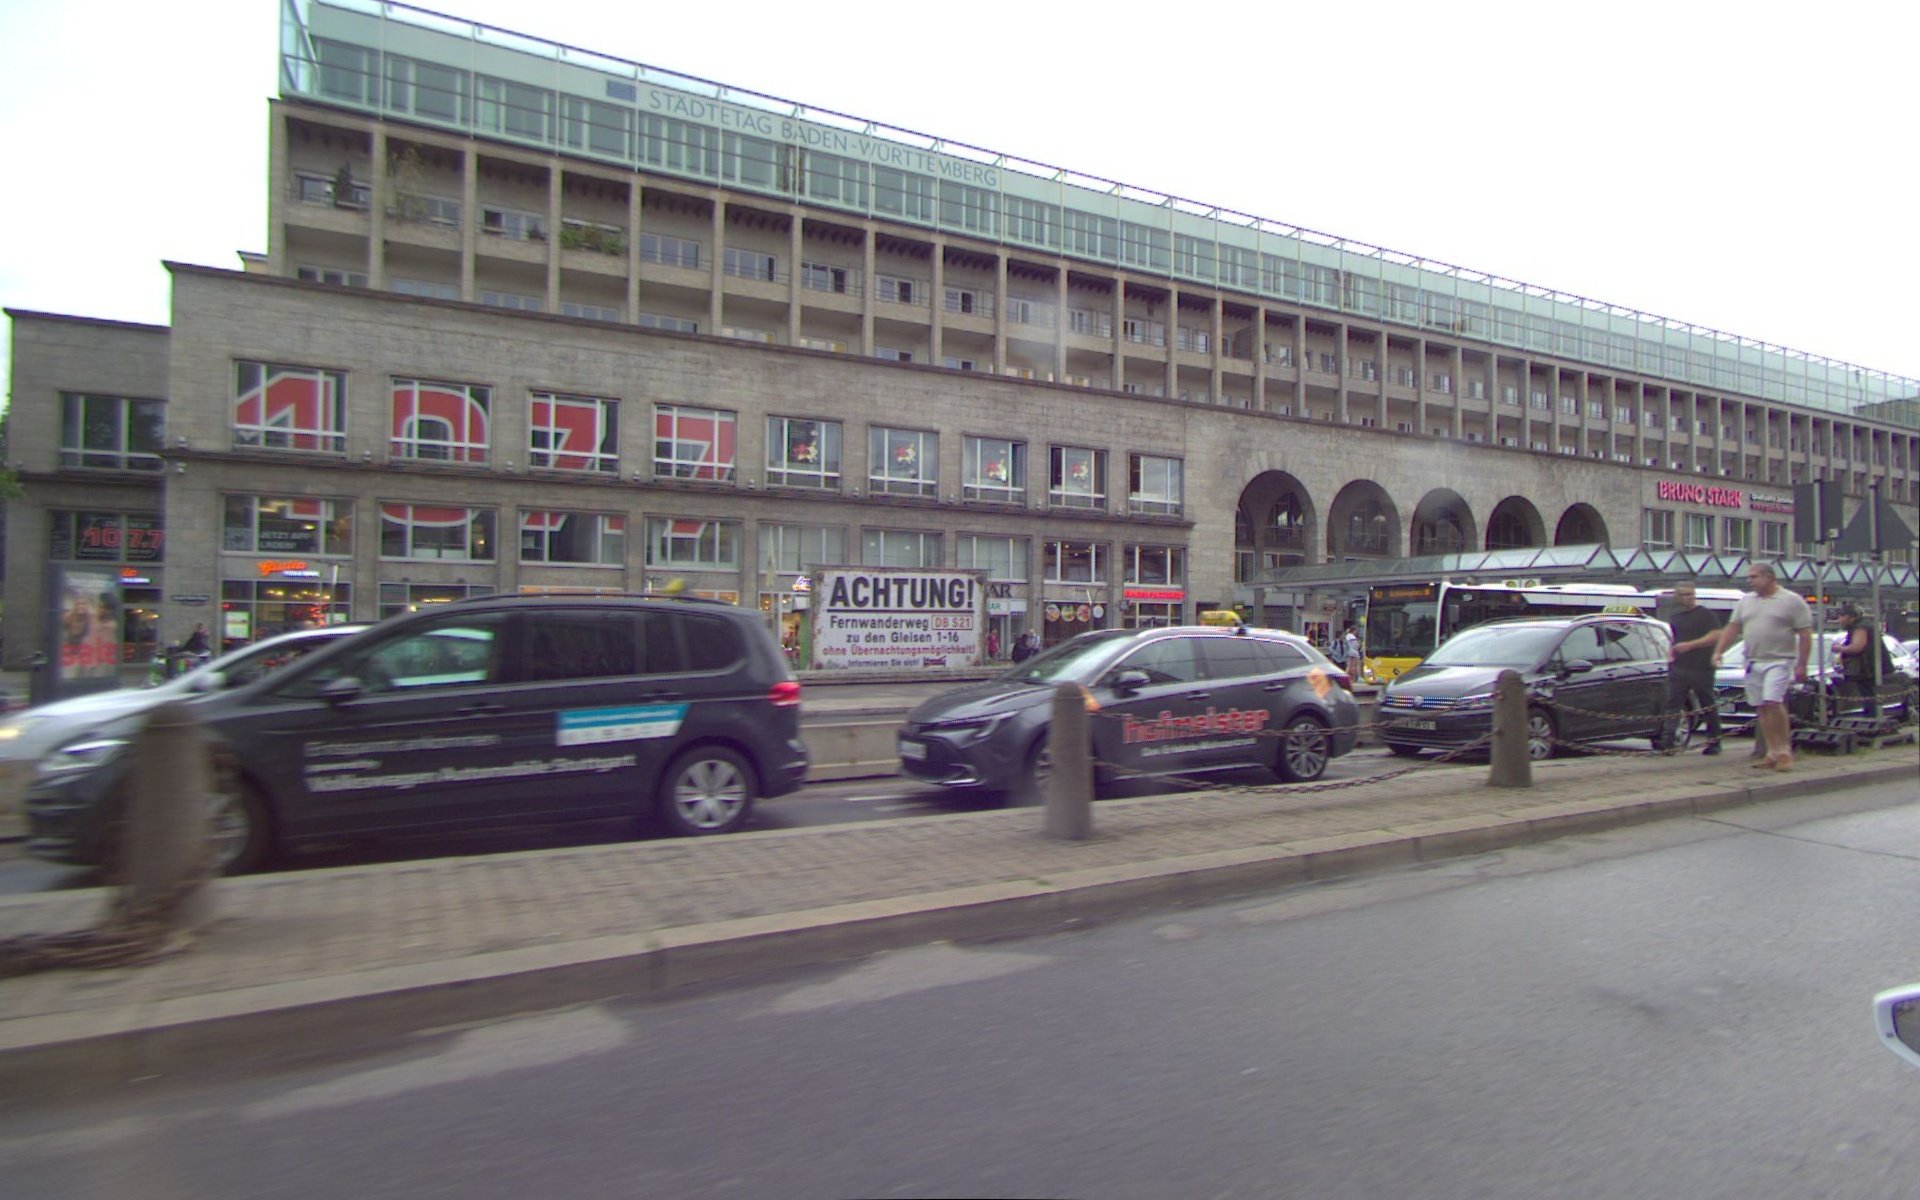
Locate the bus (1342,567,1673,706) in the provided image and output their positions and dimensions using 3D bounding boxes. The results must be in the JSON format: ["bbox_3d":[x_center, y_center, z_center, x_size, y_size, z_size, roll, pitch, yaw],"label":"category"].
[{"bbox_3d":[15.605,1.001,28.308,10.438,3.421,2.867,1,-1,-27],"label":"bus"}]

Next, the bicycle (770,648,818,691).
[{"bbox_3d":[-5.581,2.317,33.718,0.673,1.343,2.191,1,-1,-36],"label":"bicycle"}]

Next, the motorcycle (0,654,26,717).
[{"bbox_3d":[-19.279,1.665,19.483,1.600,1.188,0.580,0,0,-22],"label":"motorcycle"}]

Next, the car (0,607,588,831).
[{"bbox_3d":[-6.084,1.000,9.478,4.624,1.712,1.922,1,-3,-28],"label":"car"}]

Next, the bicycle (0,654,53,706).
[{"bbox_3d":[-22.817,1.936,24.557,0.673,1.145,1.476,0,0,-32],"label":"bicycle"}]

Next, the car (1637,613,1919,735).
[{"bbox_3d":[12.816,1.082,15.315,5.195,1.597,1.922,1,-3,-28],"label":"car"}]

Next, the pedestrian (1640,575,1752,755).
[{"bbox_3d":[7.611,0.656,10.400,0.702,1.778,0.696,1,-1,-27],"label":"pedestrian"}]

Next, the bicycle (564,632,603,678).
[{"bbox_3d":[-11.529,1.652,30.724,0.673,1.343,1.717,1,-1,-36],"label":"bicycle"}]

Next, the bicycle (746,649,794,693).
[{"bbox_3d":[-6.275,2.310,33.104,0.673,1.343,2.191,1,-1,-36],"label":"bicycle"}]

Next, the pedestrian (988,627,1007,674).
[{"bbox_3d":[1.386,1.873,37.430,0.548,1.739,0.489,1,-1,-25],"label":"pedestrian"}]

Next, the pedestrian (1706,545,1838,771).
[{"bbox_3d":[7.707,0.529,9.548,0.762,2.034,0.720,1,0,-27],"label":"pedestrian"}]

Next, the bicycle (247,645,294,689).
[{"bbox_3d":[-18.632,1.801,27.163,0.417,1.071,1.616,0,0,-11],"label":"bicycle"}]

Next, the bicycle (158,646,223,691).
[{"bbox_3d":[-20.240,1.785,26.458,0.693,1.071,1.616,0,0,-11],"label":"bicycle"}]

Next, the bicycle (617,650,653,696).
[{"bbox_3d":[-10.208,2.263,31.478,0.575,1.343,1.694,1,-1,-36],"label":"bicycle"}]

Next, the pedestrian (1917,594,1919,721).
[{"bbox_3d":[14.045,0.812,13.872,0.609,1.792,1.046,1,-1,-27],"label":"pedestrian"}]

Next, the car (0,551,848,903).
[{"bbox_3d":[-3.256,0.711,6.752,4.624,1.712,1.922,1,-3,-28],"label":"car"}]

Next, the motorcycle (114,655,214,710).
[{"bbox_3d":[-16.705,1.715,21.088,1.778,1.072,0.603,1,0,10],"label":"motorcycle"}]

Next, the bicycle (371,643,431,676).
[{"bbox_3d":[-15.732,1.654,28.276,1.370,0.862,0.673,0,0,-39],"label":"bicycle"}]

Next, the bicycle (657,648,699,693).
[{"bbox_3d":[-9.001,2.210,31.973,0.673,1.343,1.914,1,-1,-36],"label":"bicycle"}]

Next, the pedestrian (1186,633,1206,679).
[{"bbox_3d":[10.773,2.552,45.886,0.700,2.040,0.573,1,-2,-28],"label":"pedestrian"}]

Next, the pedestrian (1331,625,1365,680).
[{"bbox_3d":[11.829,1.599,30.648,0.731,1.634,0.655,1,-1,-31],"label":"pedestrian"}]

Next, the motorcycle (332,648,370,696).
[{"bbox_3d":[-14.977,1.747,24.681,0.578,1.072,1.693,0,0,-39],"label":"motorcycle"}]

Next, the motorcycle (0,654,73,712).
[{"bbox_3d":[-18.131,1.582,19.274,1.600,1.060,0.475,0,0,-22],"label":"motorcycle"}]

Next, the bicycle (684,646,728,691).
[{"bbox_3d":[-8.086,2.155,31.923,0.587,1.343,2.191,1,-1,-36],"label":"bicycle"}]

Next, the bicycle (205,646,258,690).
[{"bbox_3d":[-19.443,1.796,26.834,0.501,1.071,1.616,0,0,-11],"label":"bicycle"}]

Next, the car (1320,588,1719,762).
[{"bbox_3d":[6.653,0.840,11.871,4.624,1.712,1.922,1,-3,-28],"label":"car"}]

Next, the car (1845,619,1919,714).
[{"bbox_3d":[18.401,1.188,18.209,4.950,1.597,1.922,1,-3,-28],"label":"car"}]

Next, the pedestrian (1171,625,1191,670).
[{"bbox_3d":[10.024,2.165,45.610,0.700,2.040,0.573,1,-2,-28],"label":"pedestrian"}]

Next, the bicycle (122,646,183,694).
[{"bbox_3d":[-20.961,1.801,26.115,0.669,1.145,1.485,0,0,-14],"label":"bicycle"}]

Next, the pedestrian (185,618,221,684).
[{"bbox_3d":[-24.038,1.610,31.894,0.813,2.040,0.870,1,-1,-33],"label":"pedestrian"}]

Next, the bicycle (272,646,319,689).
[{"bbox_3d":[-18.147,1.835,27.459,0.489,1.071,1.616,0,0,-11],"label":"bicycle"}]

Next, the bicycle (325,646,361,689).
[{"bbox_3d":[-17.054,1.852,27.806,0.448,1.071,1.613,0,0,-17],"label":"bicycle"}]

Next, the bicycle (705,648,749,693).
[{"bbox_3d":[-7.479,2.236,32.178,0.556,1.343,2.191,1,-1,-36],"label":"bicycle"}]

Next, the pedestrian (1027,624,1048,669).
[{"bbox_3d":[3.050,1.830,39.770,0.685,1.739,0.465,1,-2,-35],"label":"pedestrian"}]

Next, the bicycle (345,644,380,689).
[{"bbox_3d":[-16.606,1.830,27.947,0.426,1.125,1.604,0,0,-16],"label":"bicycle"}]

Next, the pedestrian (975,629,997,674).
[{"bbox_3d":[0.920,1.831,35.784,0.632,1.587,0.491,1,-1,-26],"label":"pedestrian"}]

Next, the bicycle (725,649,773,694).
[{"bbox_3d":[-6.871,2.305,32.643,0.673,1.343,2.191,1,-1,-36],"label":"bicycle"}]

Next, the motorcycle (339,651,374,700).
[{"bbox_3d":[-14.670,1.818,24.400,0.597,1.072,1.428,0,0,-37],"label":"motorcycle"}]

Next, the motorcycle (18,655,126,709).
[{"bbox_3d":[-18.826,1.724,21.331,1.599,1.072,0.580,0,0,-20],"label":"motorcycle"}]

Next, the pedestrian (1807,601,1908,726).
[{"bbox_3d":[12.219,0.831,13.678,0.983,1.628,0.720,0,0,-28],"label":"pedestrian"}]

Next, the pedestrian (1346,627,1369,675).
[{"bbox_3d":[12.924,1.649,32.679,0.575,1.527,0.624,1,0,33],"label":"pedestrian"}]

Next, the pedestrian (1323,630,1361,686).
[{"bbox_3d":[10.865,1.633,28.596,0.735,1.555,0.732,1,-1,-36],"label":"pedestrian"}]

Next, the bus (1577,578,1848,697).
[{"bbox_3d":[24.920,1.206,33.067,10.438,3.505,2.867,1,-1,-27],"label":"bus"}]

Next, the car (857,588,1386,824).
[{"bbox_3d":[1.547,0.867,9.273,4.624,1.712,1.922,1,-3,-28],"label":"car"}]

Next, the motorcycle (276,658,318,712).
[{"bbox_3d":[-15.821,2.009,24.014,0.575,1.149,1.803,1,-1,-25],"label":"motorcycle"}]

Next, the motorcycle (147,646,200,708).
[{"bbox_3d":[-17.730,1.715,22.630,1.929,1.244,0.692,1,0,44],"label":"motorcycle"}]
